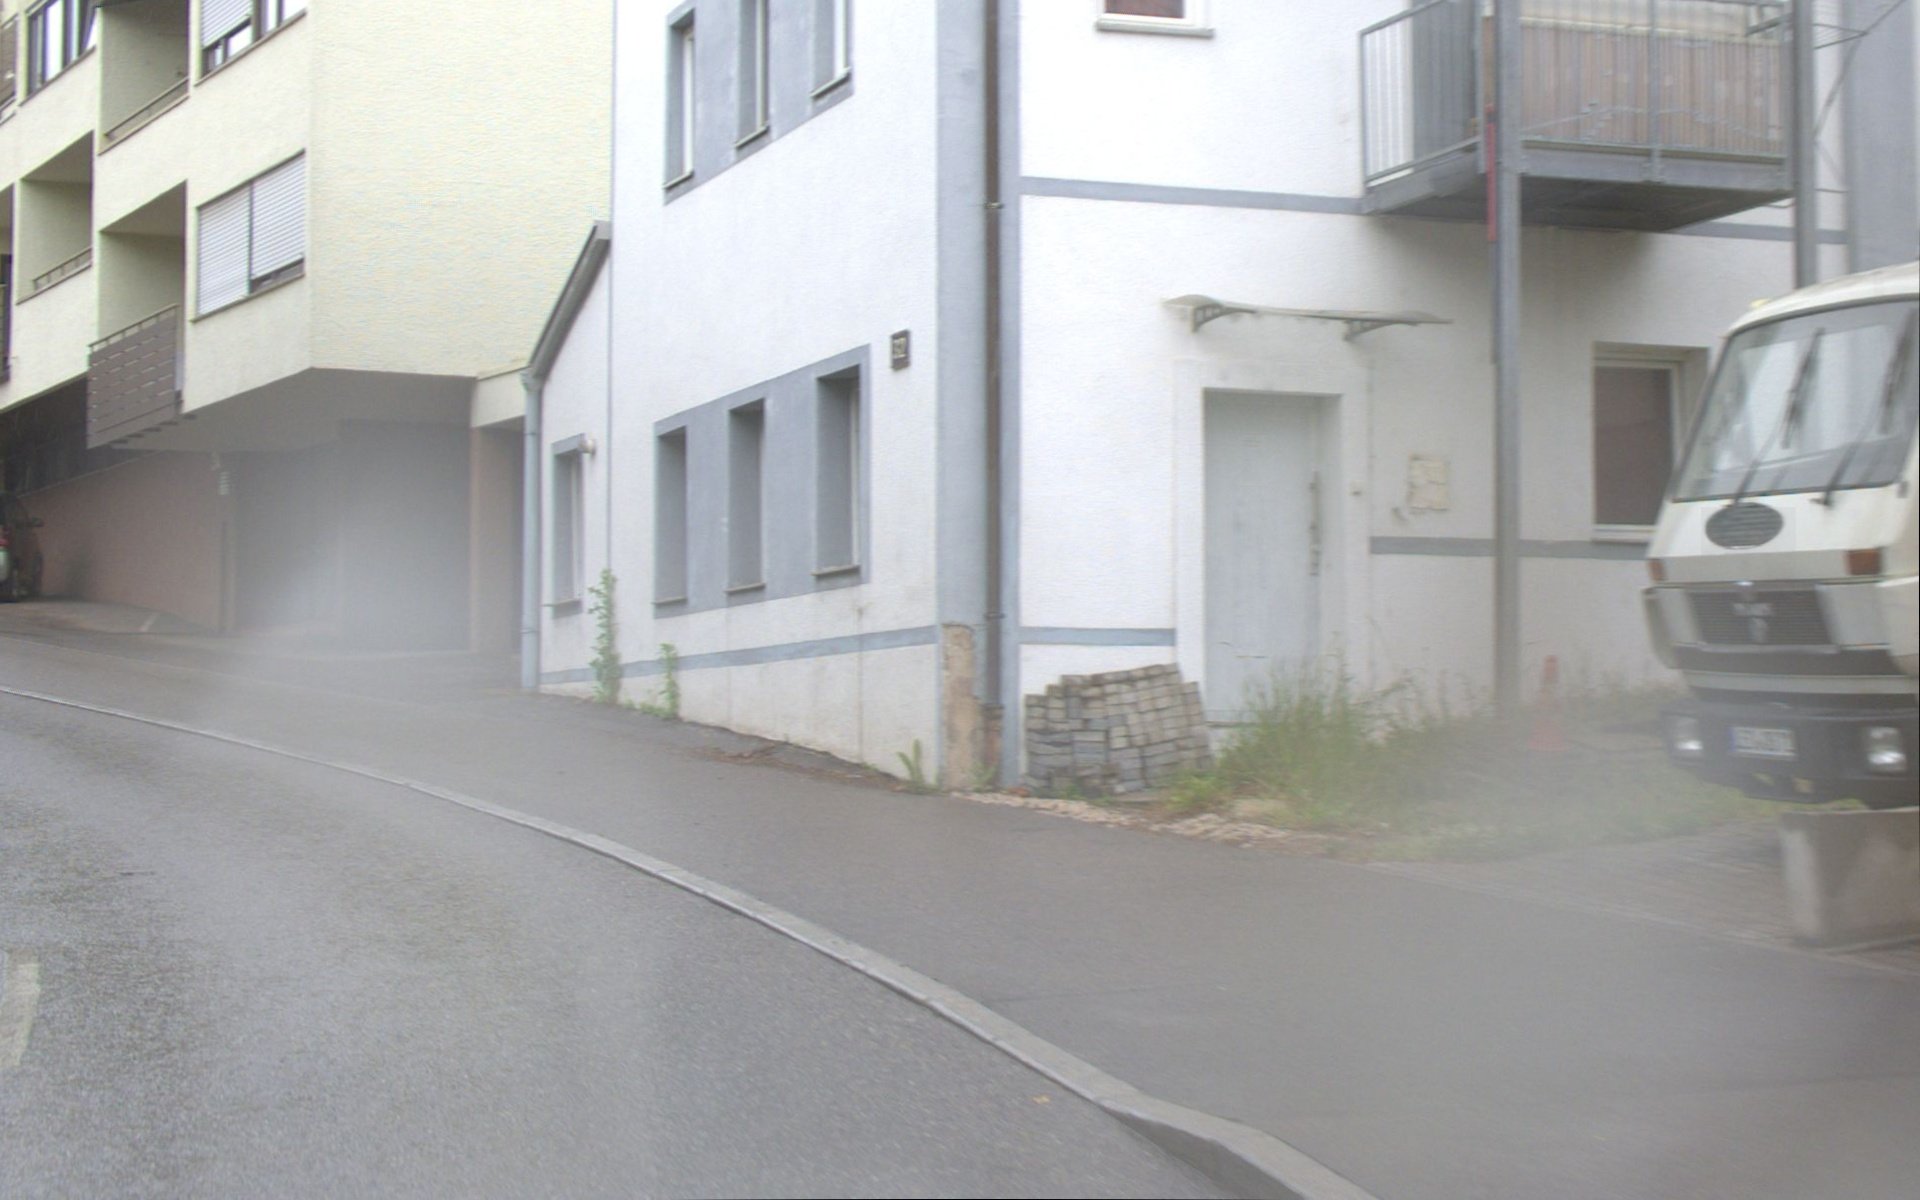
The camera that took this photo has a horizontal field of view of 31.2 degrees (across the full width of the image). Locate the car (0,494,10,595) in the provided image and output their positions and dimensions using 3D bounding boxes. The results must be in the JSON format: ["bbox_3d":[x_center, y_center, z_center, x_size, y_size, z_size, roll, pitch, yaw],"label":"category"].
[{"bbox_3d":[-16.007,-0.923,51.722,1.782,1.573,4.066,5,1,7],"label":"car"}]

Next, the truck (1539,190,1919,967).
[{"bbox_3d":[6.039,-0.296,13.942,6.954,2.693,2.141,-3,3,-16],"label":"truck"}]

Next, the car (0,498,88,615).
[{"bbox_3d":[-13.948,-0.671,49.036,1.782,1.573,4.067,5,1,2],"label":"car"}]
